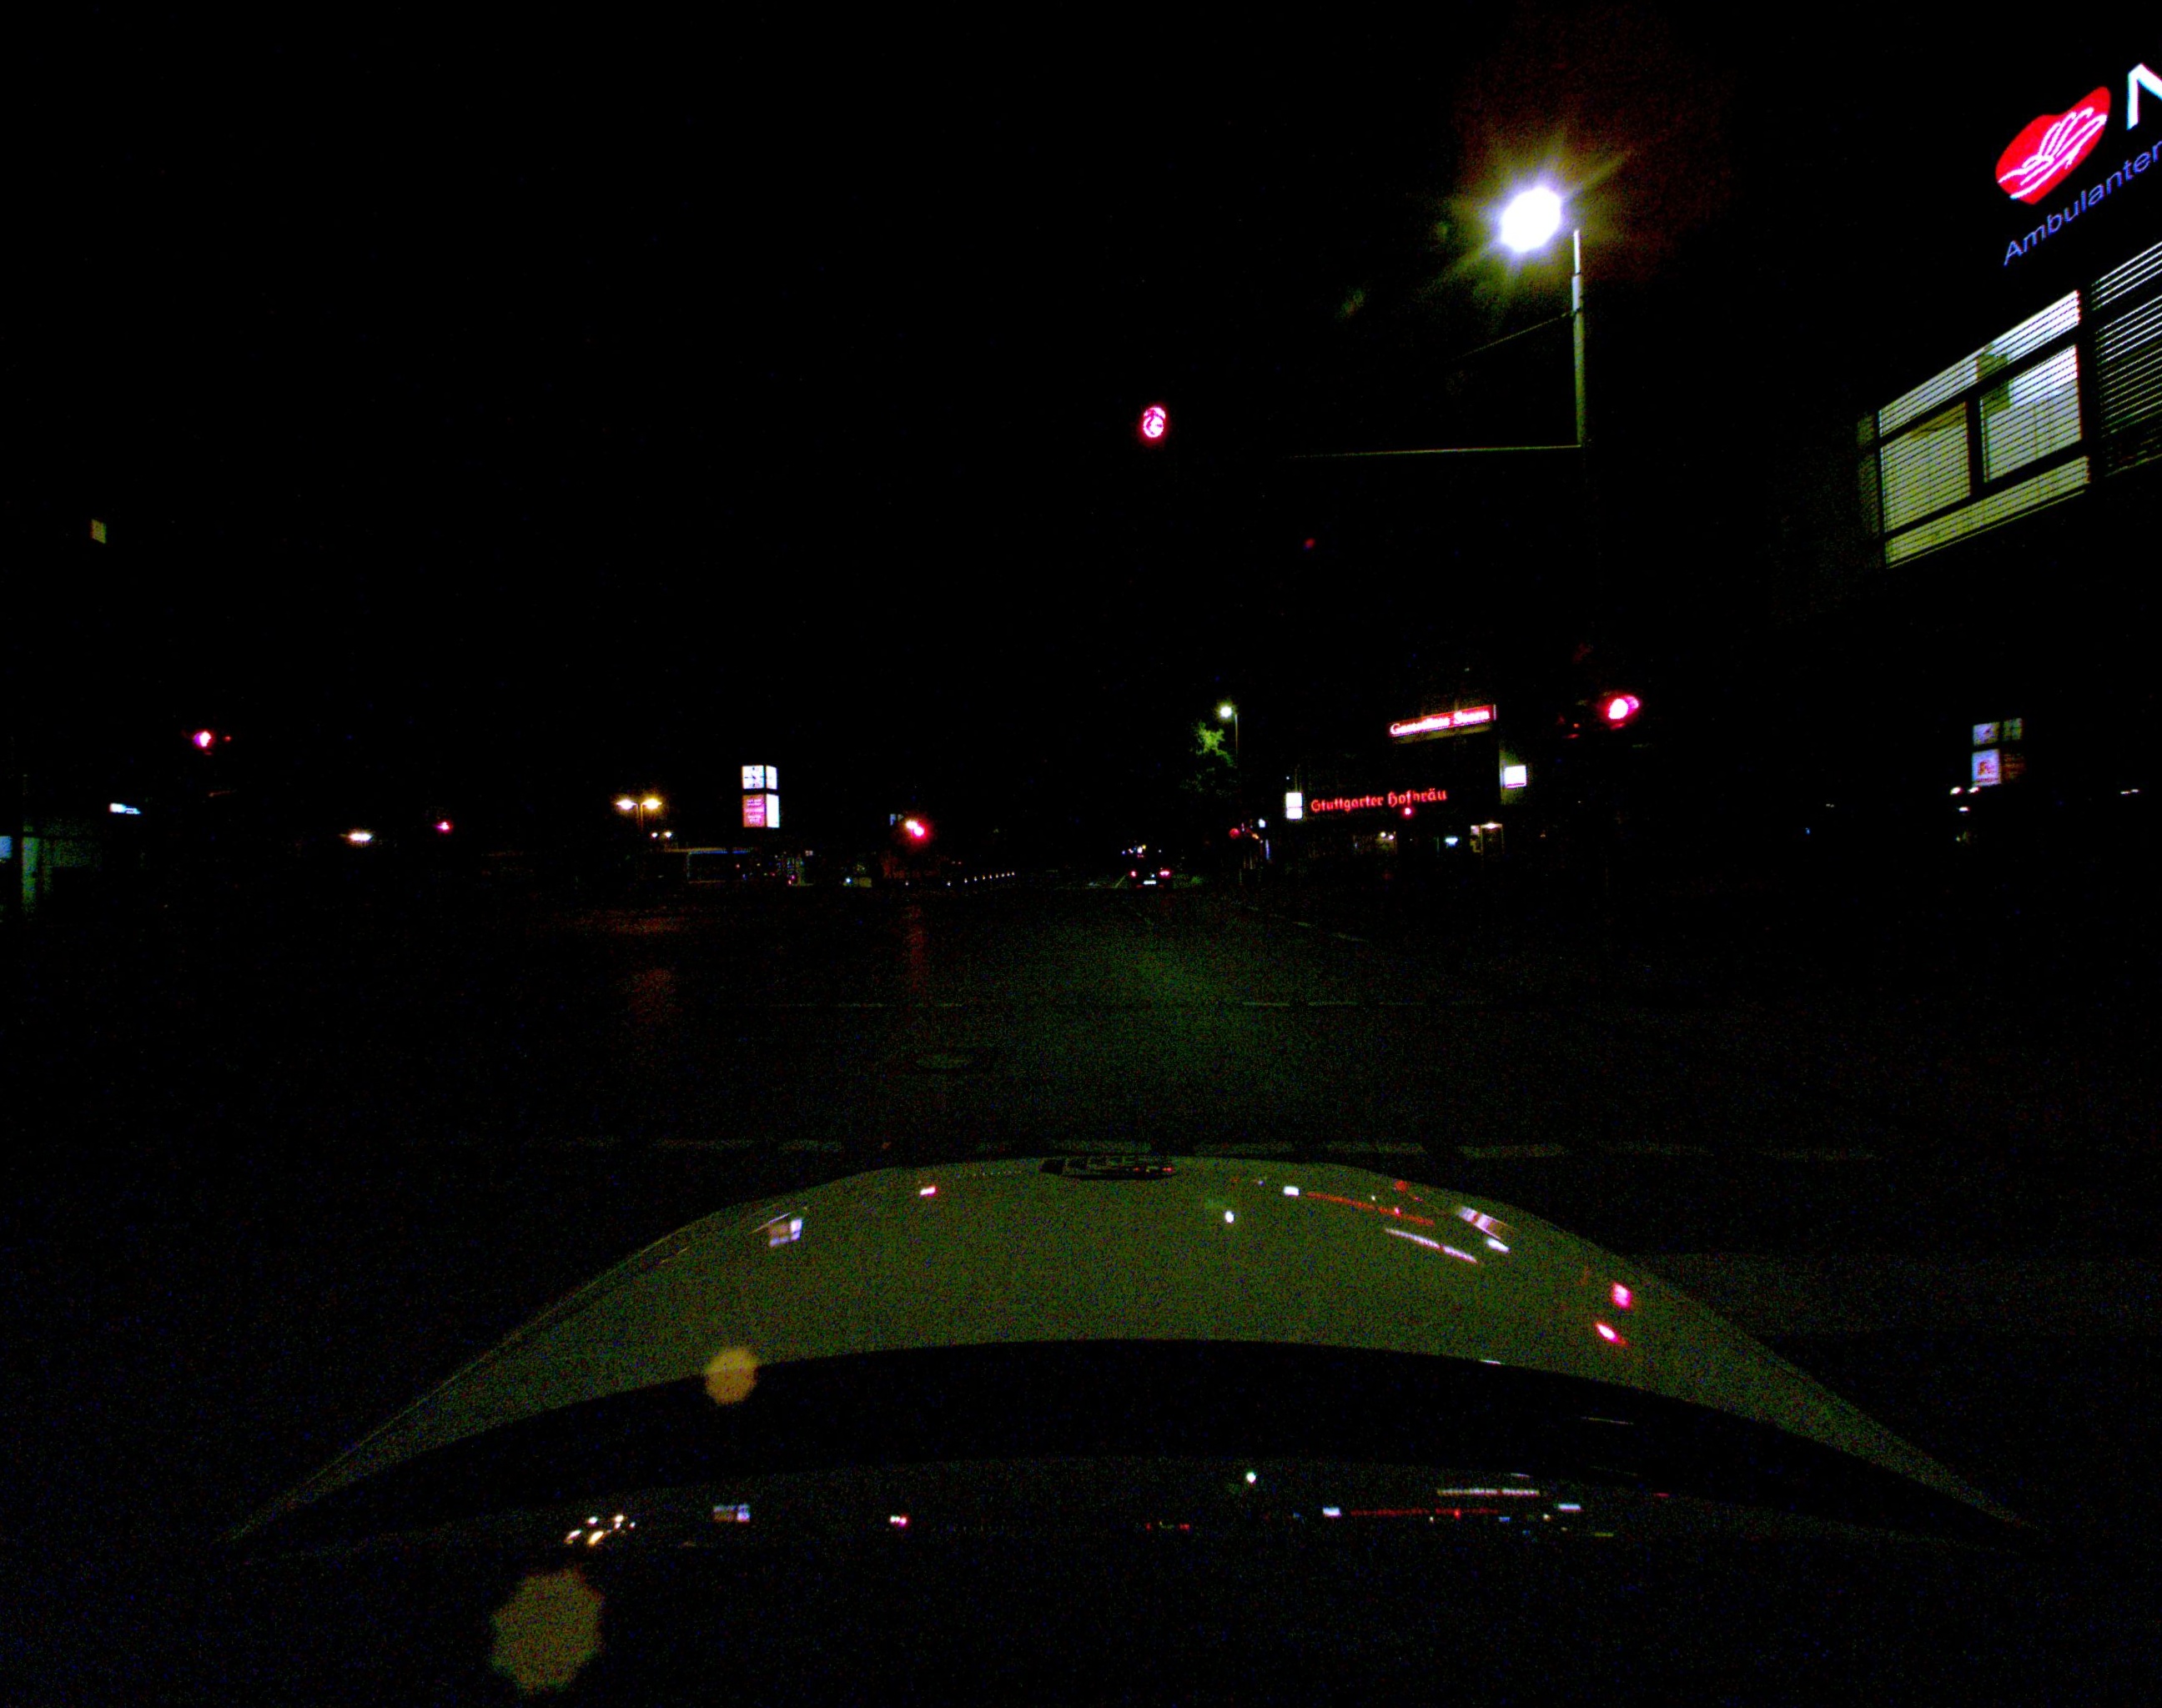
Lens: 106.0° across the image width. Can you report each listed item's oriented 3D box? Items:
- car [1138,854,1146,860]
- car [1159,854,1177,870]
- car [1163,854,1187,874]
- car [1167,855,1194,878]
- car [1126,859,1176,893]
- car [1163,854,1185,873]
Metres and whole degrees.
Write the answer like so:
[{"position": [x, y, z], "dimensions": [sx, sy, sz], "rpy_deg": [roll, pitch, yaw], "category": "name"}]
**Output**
[{"position": [18.024, 0.973, 241.140], "dimensions": [2.218, 1.651, 4.003], "rpy_deg": [-1, 0, 3], "category": "car"}, {"position": [10.048, 0.915, 94.462], "dimensions": [1.868, 1.683, 4.005], "rpy_deg": [-2, -1, 5], "category": "car"}, {"position": [7.886, 0.835, 68.776], "dimensions": [1.868, 1.615, 4.005], "rpy_deg": [-2, -1, 5], "category": "car"}, {"position": [7.698, 0.956, 63.442], "dimensions": [1.868, 1.615, 4.005], "rpy_deg": [-2, -1, 5], "category": "car"}, {"position": [3.154, 0.975, 37.341], "dimensions": [1.868, 1.454, 4.315], "rpy_deg": [0, -1, -1], "category": "car"}, {"position": [8.680, 0.882, 76.433], "dimensions": [1.868, 1.729, 4.005], "rpy_deg": [-2, -1, 5], "category": "car"}]
